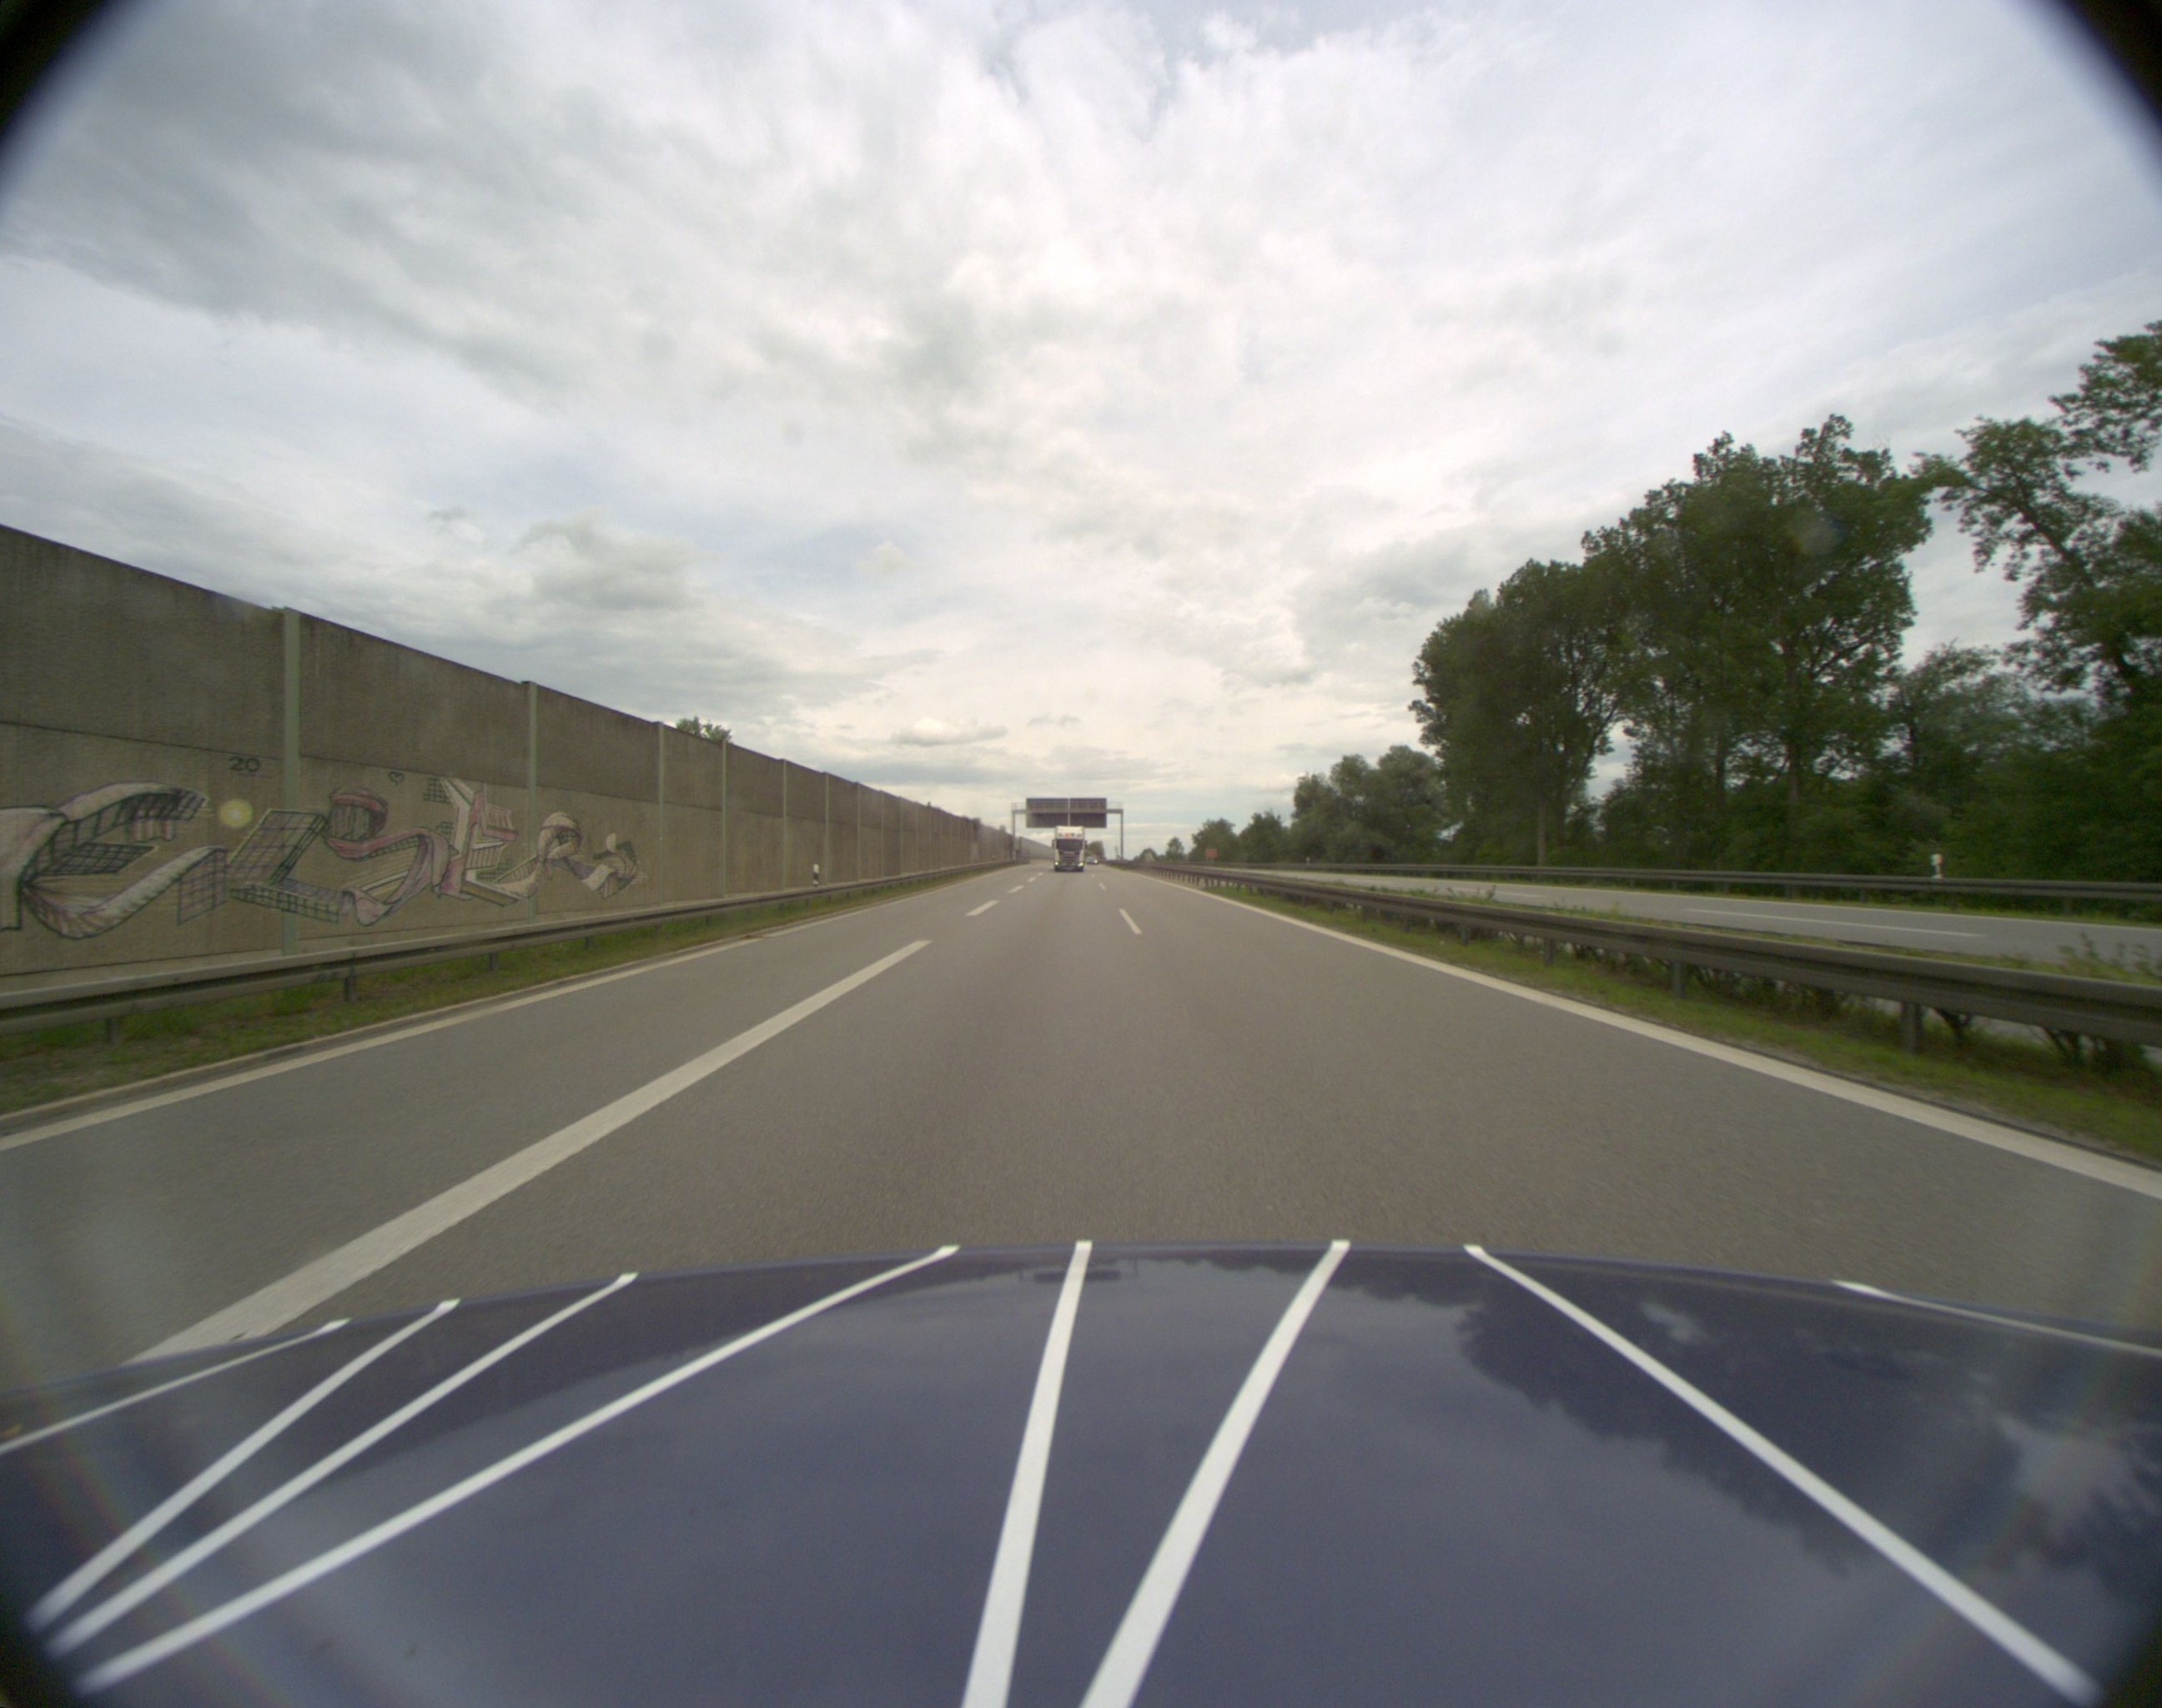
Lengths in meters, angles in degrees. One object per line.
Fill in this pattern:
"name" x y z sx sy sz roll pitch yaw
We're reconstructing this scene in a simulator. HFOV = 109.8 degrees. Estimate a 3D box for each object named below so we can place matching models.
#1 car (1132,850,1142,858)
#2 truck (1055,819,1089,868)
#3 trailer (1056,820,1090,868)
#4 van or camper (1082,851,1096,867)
"car" 14.352 0.028 193.985 1.999 1.991 4.743 1 0 -1
"truck" -0.742 -0.837 65.654 2.763 3.936 5.677 2 -1 0
"trailer" -0.689 -0.772 73.231 2.800 4.149 14.104 2 -1 0
"van or camper" 1.527 1.009 138.734 2.435 2.680 7.228 2 -1 2
